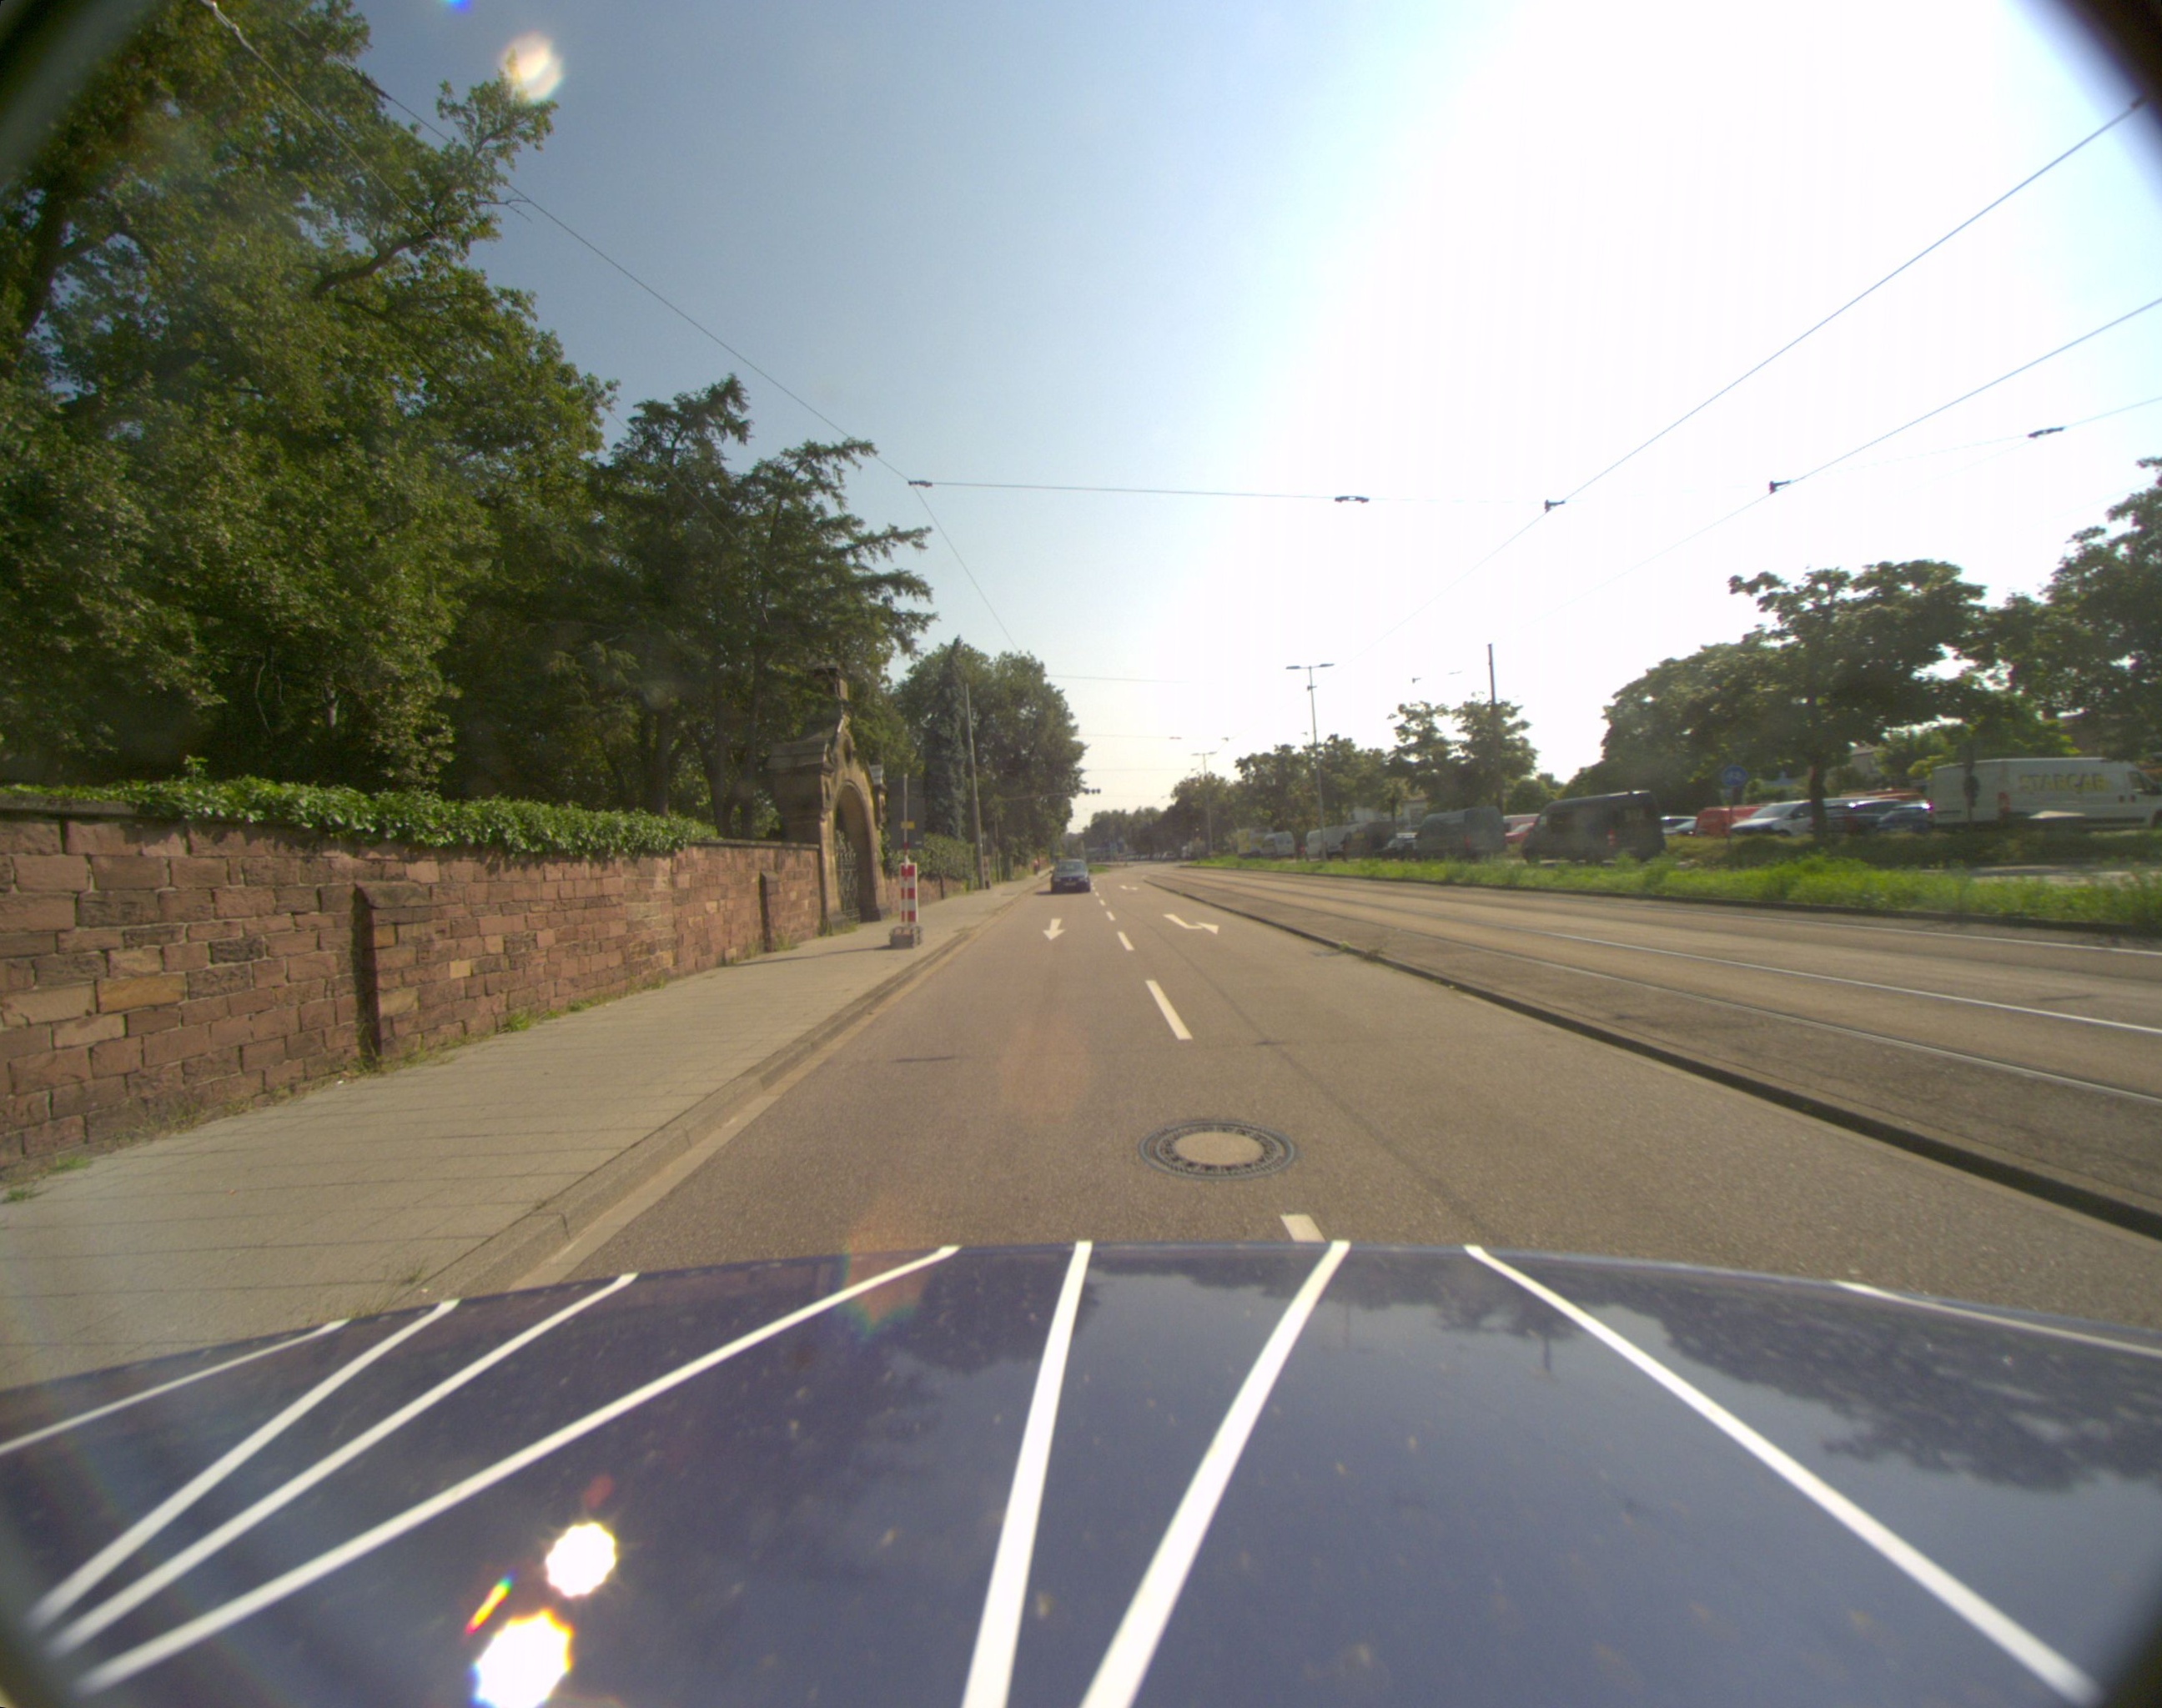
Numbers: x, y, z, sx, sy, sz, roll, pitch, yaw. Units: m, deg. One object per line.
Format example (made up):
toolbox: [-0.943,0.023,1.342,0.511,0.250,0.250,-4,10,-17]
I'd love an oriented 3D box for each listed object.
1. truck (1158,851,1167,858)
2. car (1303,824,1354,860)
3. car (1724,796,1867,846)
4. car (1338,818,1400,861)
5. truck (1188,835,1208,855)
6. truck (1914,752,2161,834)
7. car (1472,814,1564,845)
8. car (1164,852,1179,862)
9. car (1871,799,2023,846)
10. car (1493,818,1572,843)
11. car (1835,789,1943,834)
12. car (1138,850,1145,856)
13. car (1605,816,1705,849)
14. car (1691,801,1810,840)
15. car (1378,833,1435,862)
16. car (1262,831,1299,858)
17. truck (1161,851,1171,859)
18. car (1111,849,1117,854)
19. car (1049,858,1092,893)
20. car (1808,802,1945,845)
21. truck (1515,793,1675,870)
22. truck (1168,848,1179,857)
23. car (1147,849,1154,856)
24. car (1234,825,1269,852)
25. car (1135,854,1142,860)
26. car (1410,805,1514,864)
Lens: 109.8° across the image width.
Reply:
truck: [18.702,0.095,174.415,1.691,1.665,3.655,-3,0,0]
car: [19.283,-0.906,59.503,2.138,2.571,5.630,-3,0,0]
car: [29.504,-1.339,31.449,4.410,1.774,1.633,-3,1,-1]
car: [19.282,-0.893,51.256,1.827,2.571,5.910,-5,0,1]
truck: [19.485,-1.557,126.614,2.278,3.103,8.787,-3,0,3]
truck: [29.967,-1.855,23.722,5.504,2.160,2.259,-3,1,-1]
car: [30.259,-1.679,52.741,5.198,1.914,2.052,-3,1,-1]
car: [14.688,0.438,123.397,1.929,1.511,3.949,-3,0,2]
car: [29.744,-1.053,26.166,3.413,1.418,1.633,-3,1,-1]
car: [29.497,-1.534,49.723,3.997,1.442,1.857,-3,1,0]
car: [44.057,-2.307,41.481,3.998,2.085,1.803,-4,1,-2]
car: [16.905,-0.256,211.748,1.551,1.575,3.455,-3,0,-1]
car: [29.795,-1.099,39.485,4.169,1.455,1.624,-3,0,-7]
car: [30.054,-1.502,34.177,3.933,1.509,1.633,-3,1,-1]
car: [19.326,-0.380,45.256,1.749,1.543,3.834,-5,0,2]
car: [19.336,-0.897,73.805,2.148,2.444,4.831,-3,0,-1]
truck: [18.681,0.186,166.720,1.691,1.665,3.655,-3,0,0]
car: [10.804,-0.879,248.358,1.551,1.575,3.455,-3,0,-1]
car: [-0.435,0.932,34.388,1.776,1.416,3.935,-2,0,1]
car: [29.726,-1.128,28.458,3.413,1.418,1.633,-3,1,-1]
truck: [19.325,-0.796,28.996,2.086,2.533,5.738,-3,0,-1]
truck: [18.947,-0.344,156.008,1.691,1.665,3.655,-3,0,0]
car: [18.371,-0.454,200.470,1.551,1.758,3.645,-3,0,-1]
car: [18.677,-1.644,83.469,2.130,2.789,7.230,-3,0,0]
car: [16.441,0.815,217.727,1.551,1.575,3.455,-3,0,-1]
car: [19.277,-0.945,38.917,1.993,2.571,6.466,-5,0,1]
